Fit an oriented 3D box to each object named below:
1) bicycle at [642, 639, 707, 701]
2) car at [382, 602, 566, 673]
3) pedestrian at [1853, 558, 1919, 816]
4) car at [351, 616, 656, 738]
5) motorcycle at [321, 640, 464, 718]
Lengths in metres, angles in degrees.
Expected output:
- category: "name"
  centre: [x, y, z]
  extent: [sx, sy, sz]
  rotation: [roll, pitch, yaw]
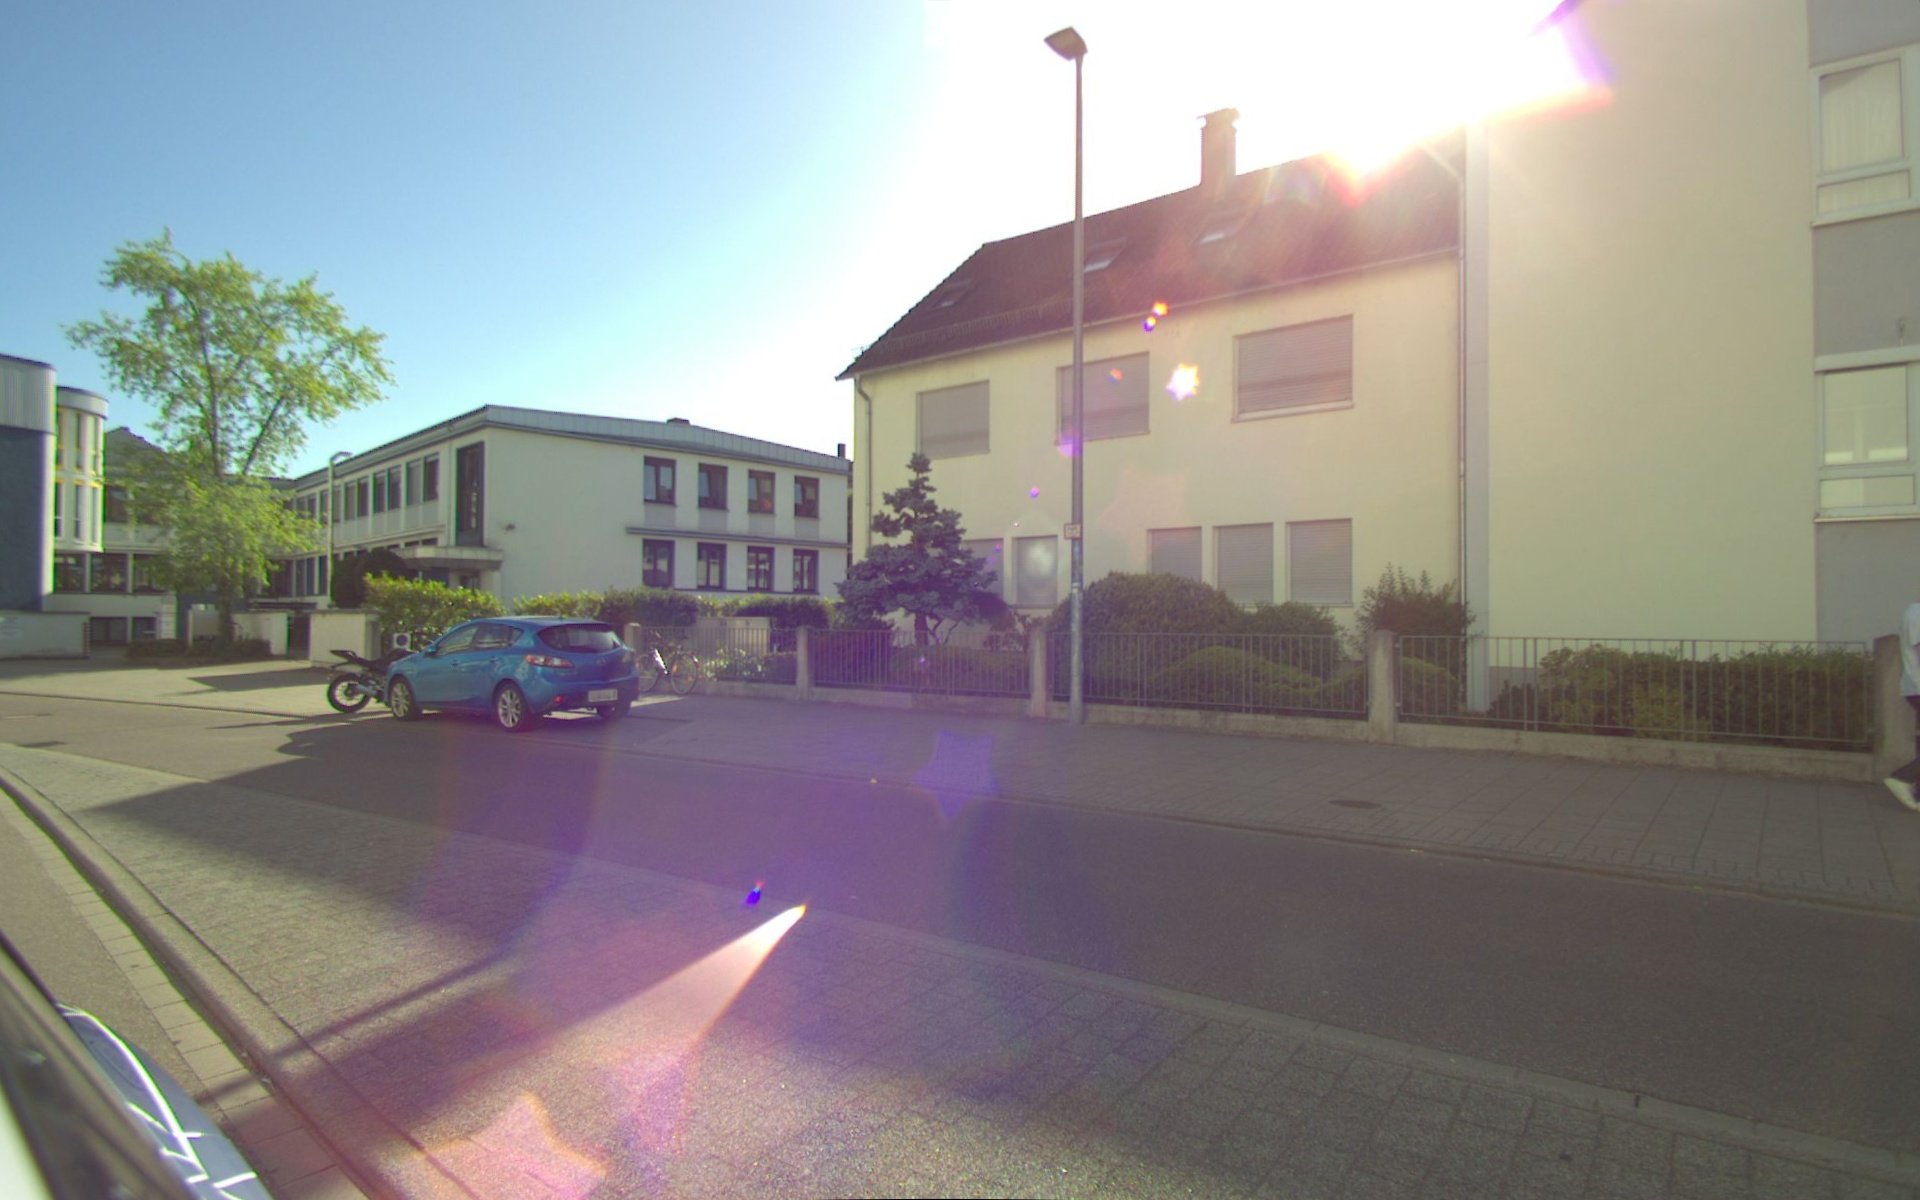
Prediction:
- category: "bicycle"
  centre: [-4.911, 1.180, 17.359]
  extent: [1.260, 1.023, 0.342]
  rotation: [-1, -2, 35]
- category: "car"
  centre: [-12.845, 0.986, 26.896]
  extent: [2.000, 1.729, 3.944]
  rotation: [-1, -3, 42]
- category: "pedestrian"
  centre: [6.767, 0.577, 6.889]
  extent: [0.997, 1.718, 0.683]
  rotation: [-1, -1, 41]
- category: "car"
  centre: [-6.484, 0.984, 14.218]
  extent: [4.402, 1.445, 1.864]
  rotation: [-1, -1, 34]
- category: "motorcycle"
  centre: [-8.919, 1.221, 15.970]
  extent: [1.930, 1.103, 0.592]
  rotation: [-1, -1, -28]
